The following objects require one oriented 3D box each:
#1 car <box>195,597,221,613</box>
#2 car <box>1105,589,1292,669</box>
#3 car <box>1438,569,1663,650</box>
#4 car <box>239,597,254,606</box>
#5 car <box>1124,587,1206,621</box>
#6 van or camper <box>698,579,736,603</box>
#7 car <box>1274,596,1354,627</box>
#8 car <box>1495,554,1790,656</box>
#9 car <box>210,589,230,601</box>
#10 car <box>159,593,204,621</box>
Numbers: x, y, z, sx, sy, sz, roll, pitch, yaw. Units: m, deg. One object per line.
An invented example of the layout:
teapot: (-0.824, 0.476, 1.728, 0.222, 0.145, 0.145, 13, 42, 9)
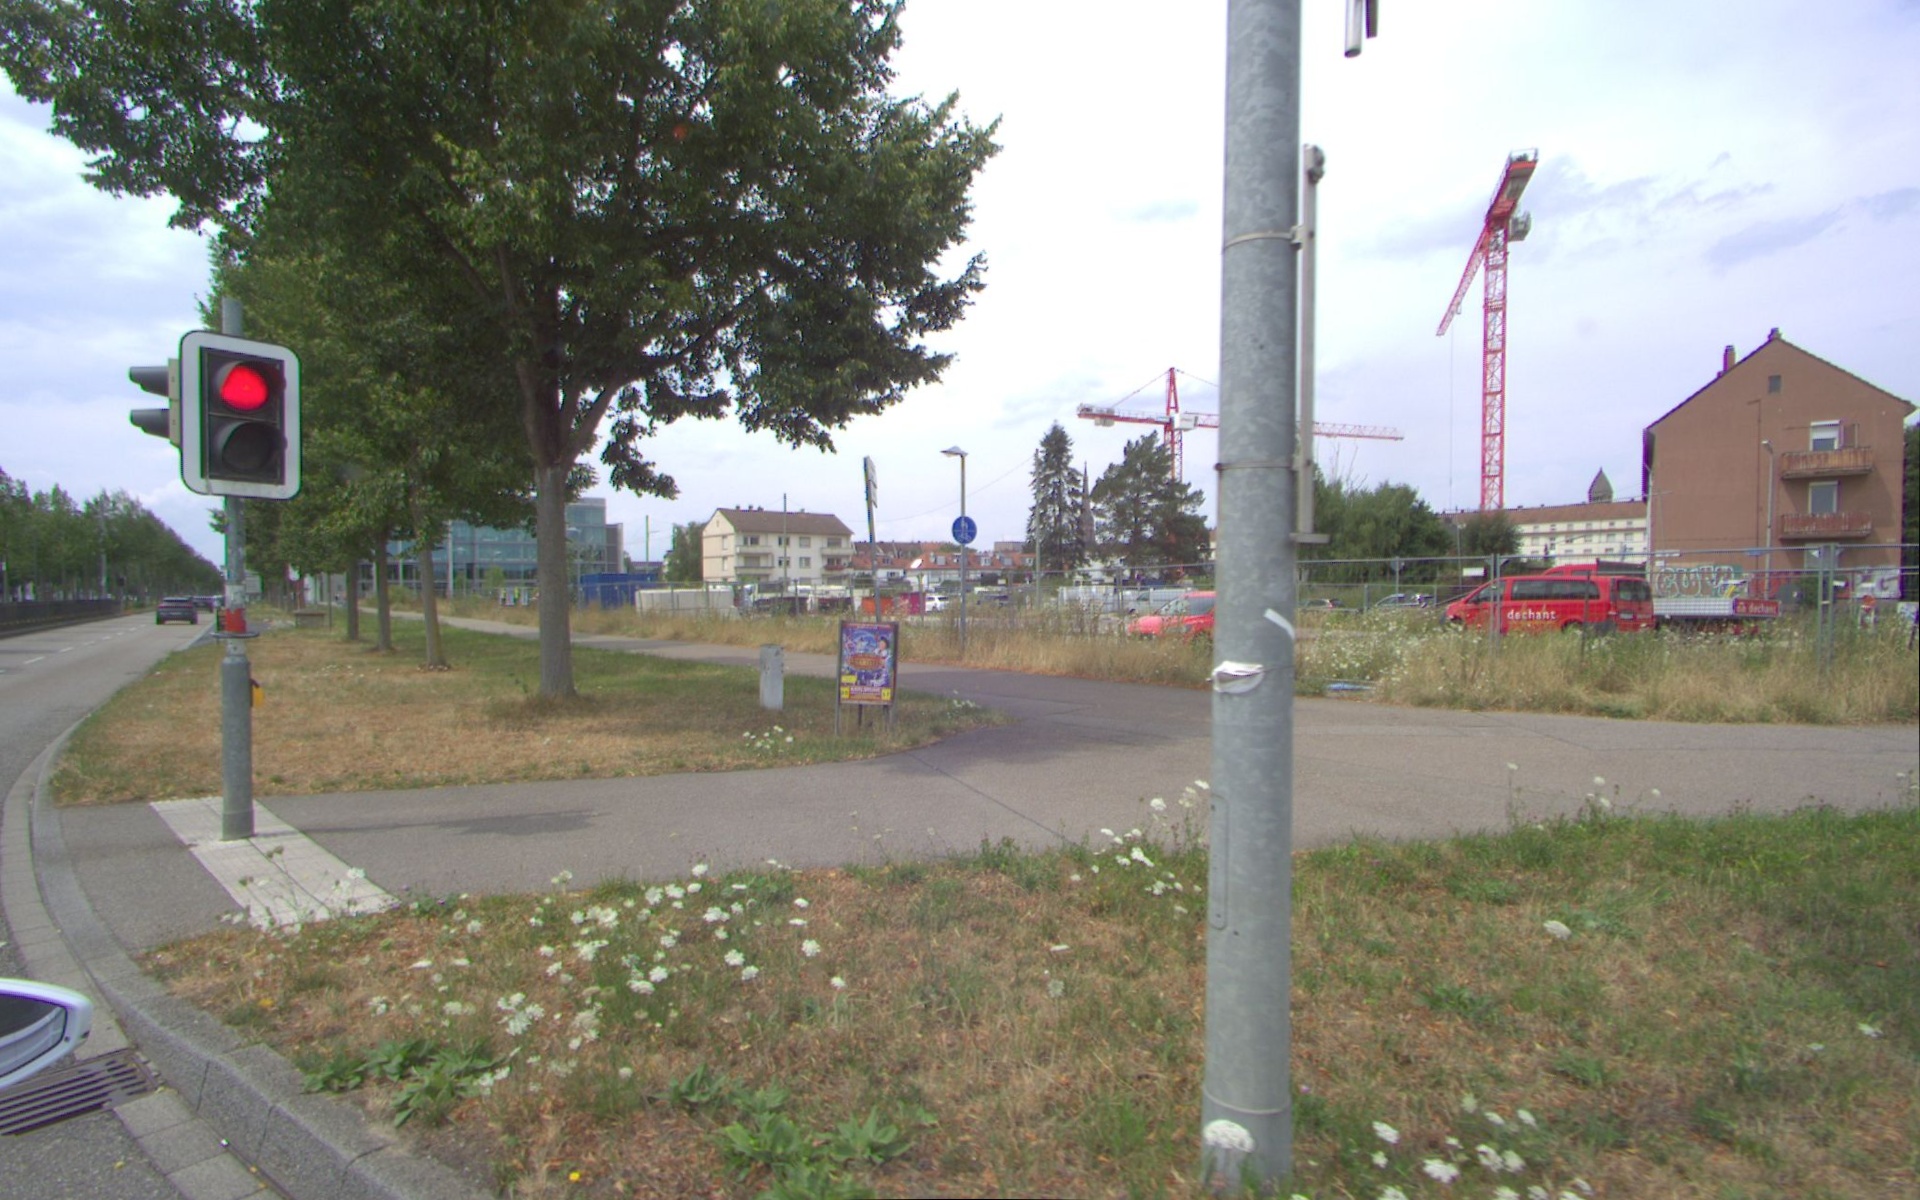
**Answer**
car: (-72.838, 0.444, 97.030, 1.718, 1.539, 4.119, 0, 1, -34)
car: (5.275, 0.556, 21.776, 4.481, 1.553, 1.773, -1, 1, -42)
car: (15.586, 0.248, 26.794, 1.906, 1.935, 4.969, 2, -1, -24)
car: (-129.819, 0.219, 182.223, 1.972, 1.639, 4.723, -1, 1, -32)
car: (13.235, 0.238, 64.855, 2.125, 2.165, 4.864, -1, 1, -42)
van or camper: (-28.725, -1.042, 118.190, 2.325, 2.724, 5.200, -1, 1, -40)
car: (19.939, 0.621, 56.516, 1.778, 1.624, 3.987, -1, 1, -34)
car: (18.374, 0.102, 27.518, 2.281, 2.445, 6.519, -1, 1, -23)
car: (-87.049, -0.584, 117.801, 1.809, 1.482, 4.226, -1, 1, -38)
car: (-47.016, 0.397, 60.540, 2.039, 1.572, 4.441, 0, 1, -37)
